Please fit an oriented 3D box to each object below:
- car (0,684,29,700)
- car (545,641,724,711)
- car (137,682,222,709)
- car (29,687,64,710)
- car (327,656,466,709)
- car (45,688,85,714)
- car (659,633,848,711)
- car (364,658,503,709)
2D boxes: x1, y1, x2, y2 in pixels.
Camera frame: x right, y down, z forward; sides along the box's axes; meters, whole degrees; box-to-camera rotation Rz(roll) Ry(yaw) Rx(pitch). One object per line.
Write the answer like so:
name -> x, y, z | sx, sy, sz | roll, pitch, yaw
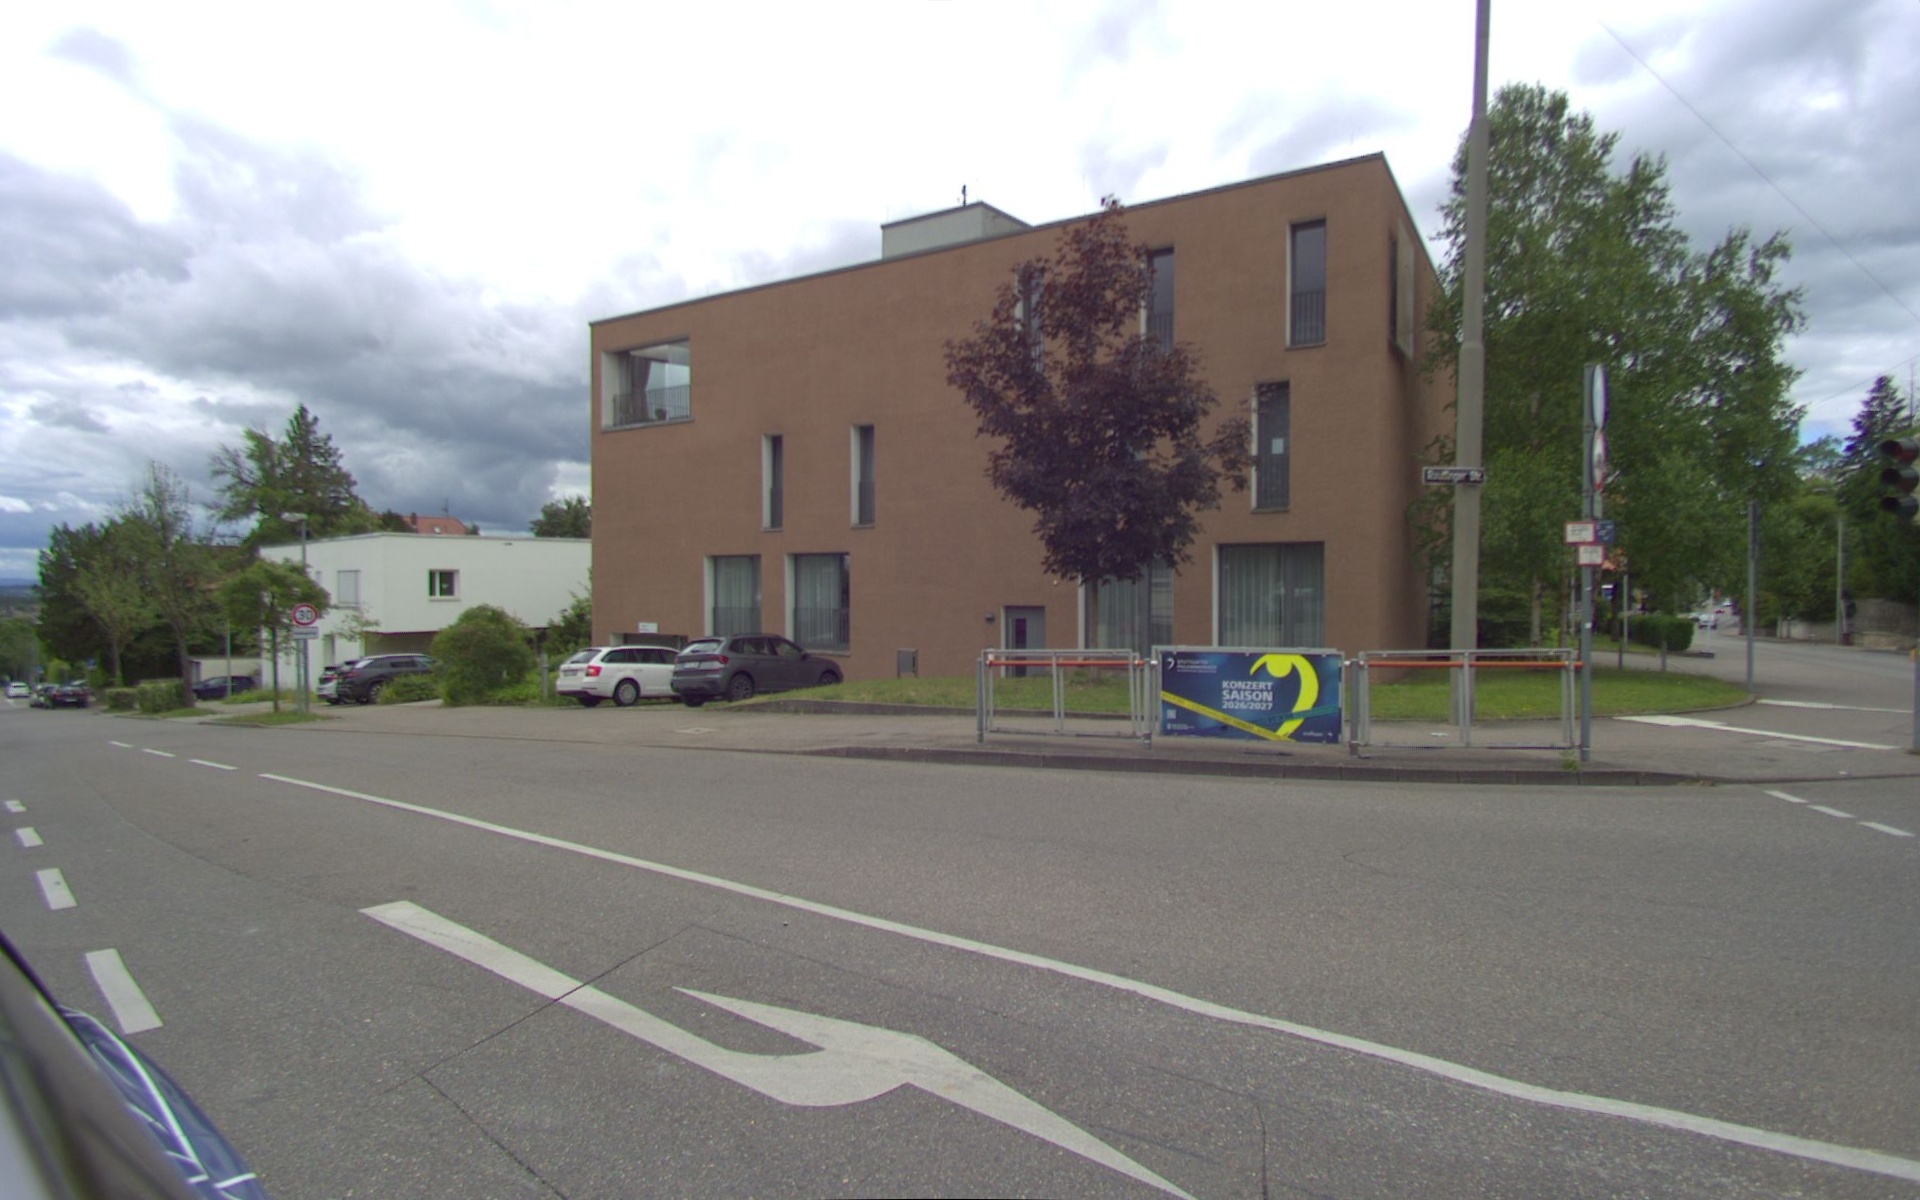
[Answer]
car -> -95.898, 9.286, 102.375 | 4.362, 1.432, 1.861 | -3, -3, 38
car -> -7.999, 1.855, 25.129 | 1.724, 1.497, 3.950 | -5, -4, 37
car -> -46.969, 5.730, 60.948 | 3.939, 1.296, 1.665 | 0, -4, -43
car -> -61.553, 6.620, 68.163 | 1.638, 1.432, 4.371 | 0, -4, -44
car -> -19.975, 2.894, 35.944 | 1.793, 1.608, 3.943 | -6, -4, 43
car -> -54.931, 6.162, 62.083 | 1.638, 1.432, 4.003 | 0, -4, -44
car -> -4.493, 1.564, 22.521 | 1.724, 1.497, 3.950 | -5, -4, 37
car -> -18.233, 2.873, 35.158 | 1.727, 1.497, 3.943 | -6, -4, 43
